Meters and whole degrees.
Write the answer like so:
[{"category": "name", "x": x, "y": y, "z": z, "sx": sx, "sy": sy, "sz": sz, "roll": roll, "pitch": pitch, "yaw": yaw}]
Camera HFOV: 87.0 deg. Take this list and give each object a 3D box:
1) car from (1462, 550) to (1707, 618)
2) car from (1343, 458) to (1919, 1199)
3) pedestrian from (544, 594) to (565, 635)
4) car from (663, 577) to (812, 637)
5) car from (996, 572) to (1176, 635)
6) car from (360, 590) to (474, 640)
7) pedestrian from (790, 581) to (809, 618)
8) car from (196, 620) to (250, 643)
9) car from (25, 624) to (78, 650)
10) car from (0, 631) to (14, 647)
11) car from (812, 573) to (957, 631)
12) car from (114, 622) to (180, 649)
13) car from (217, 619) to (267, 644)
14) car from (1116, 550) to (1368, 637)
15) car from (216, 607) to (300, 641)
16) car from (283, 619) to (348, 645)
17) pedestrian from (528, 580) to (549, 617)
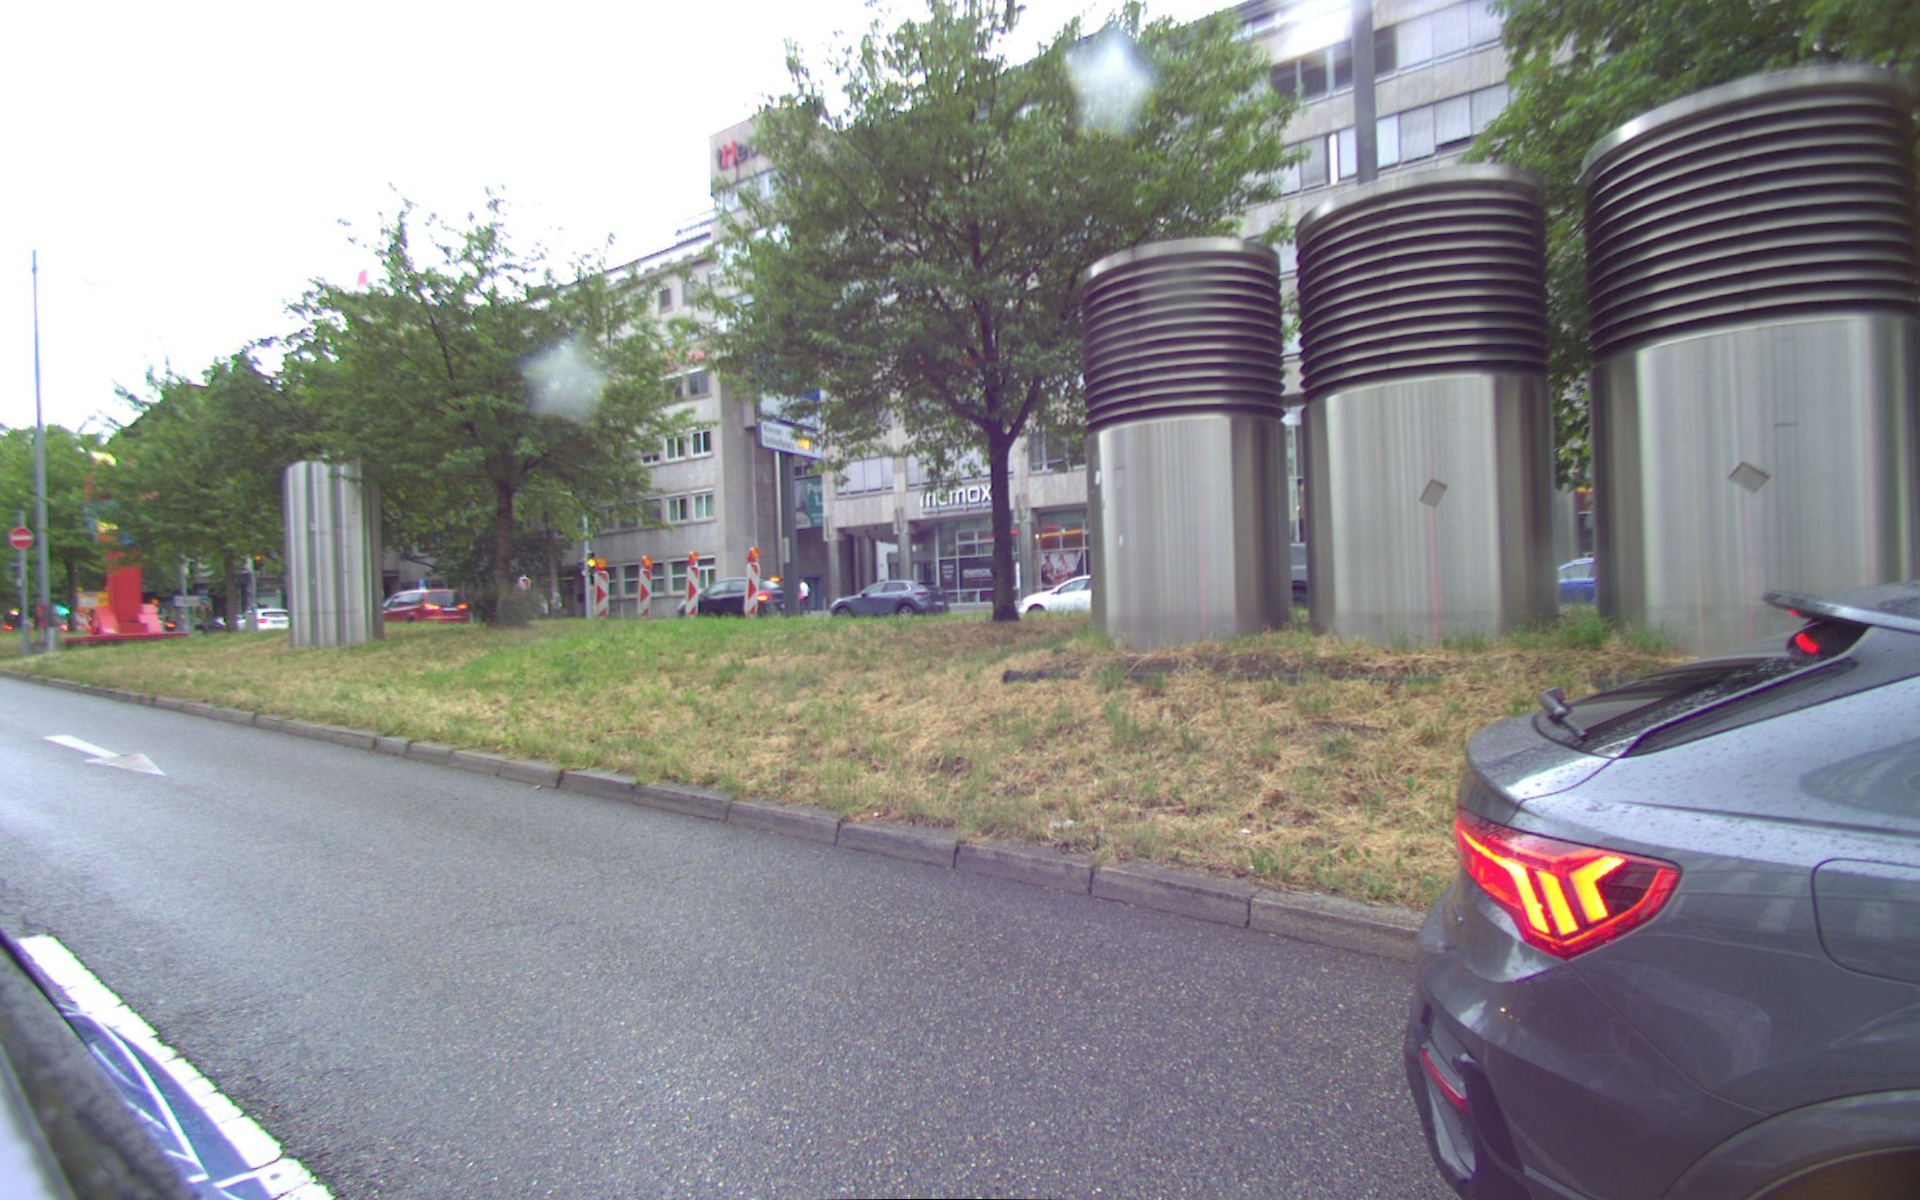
[{"category": "car", "x": 13.842, "y": -0.322, "z": 22.618, "sx": 4.465, "sy": 1.335, "sz": 1.876, "roll": -2, "pitch": 0, "yaw": 34}, {"category": "car", "x": 2.843, "y": 0.577, "z": 0.967, "sx": 4.247, "sy": 1.628, "sz": 1.830, "roll": -2, "pitch": 0, "yaw": 39}, {"category": "pedestrian", "x": -18.063, "y": 0.652, "z": 45.107, "sx": 0.721, "sy": 1.801, "sz": 0.522, "roll": -2, "pitch": 0, "yaw": 42}, {"category": "car", "x": -6.200, "y": 0.203, "z": 28.093, "sx": 3.990, "sy": 1.497, "sz": 1.790, "roll": -1, "pitch": 2, "yaw": 35}, {"category": "car", "x": 3.552, "y": 0.134, "z": 29.134, "sx": 4.905, "sy": 1.634, "sz": 1.759, "roll": -2, "pitch": -1, "yaw": 38}, {"category": "car", "x": -20.374, "y": 0.579, "z": 37.925, "sx": 4.568, "sy": 1.740, "sz": 1.711, "roll": -2, "pitch": 0, "yaw": 33}, {"category": "pedestrian", "x": -7.948, "y": -0.031, "z": 50.177, "sx": 0.528, "sy": 1.801, "sz": 0.713, "roll": -2, "pitch": 0, "yaw": 33}, {"category": "car", "x": -50.478, "y": 2.152, "z": 69.272, "sx": 4.568, "sy": 1.498, "sz": 1.769, "roll": -2, "pitch": -1, "yaw": 38}, {"category": "car", "x": -63.754, "y": 2.575, "z": 71.000, "sx": 3.991, "sy": 1.713, "sz": 1.928, "roll": -2, "pitch": 0, "yaw": 36}, {"category": "car", "x": -92.319, "y": 3.775, "z": 97.085, "sx": 4.128, "sy": 1.440, "sz": 1.843, "roll": -2, "pitch": -1, "yaw": 40}, {"category": "car", "x": -2.565, "y": 0.108, "z": 33.701, "sx": 4.785, "sy": 1.739, "sz": 1.844, "roll": -2, "pitch": -1, "yaw": 38}, {"category": "car", "x": -47.927, "y": 2.095, "z": 59.622, "sx": 3.987, "sy": 1.486, "sz": 1.853, "roll": -2, "pitch": 0, "yaw": 33}, {"category": "car", "x": -47.045, "y": 2.053, "z": 66.274, "sx": 3.687, "sy": 1.514, "sz": 1.670, "roll": -2, "pitch": -1, "yaw": 38}, {"category": "car", "x": 5.423, "y": -0.108, "z": 19.641, "sx": 4.368, "sy": 1.497, "sz": 1.791, "roll": -1, "pitch": 2, "yaw": 32}, {"category": "car", "x": -33.235, "y": 1.125, "z": 47.887, "sx": 4.180, "sy": 1.486, "sz": 1.805, "roll": -2, "pitch": 0, "yaw": 33}, {"category": "car", "x": -38.576, "y": 1.920, "z": 60.555, "sx": 4.559, "sy": 1.440, "sz": 1.844, "roll": -2, "pitch": -1, "yaw": 38}, {"category": "pedestrian", "x": -18.996, "y": -0.054, "z": 45.633, "sx": 0.619, "sy": 1.641, "sz": 0.599, "roll": -2, "pitch": 0, "yaw": 41}]
